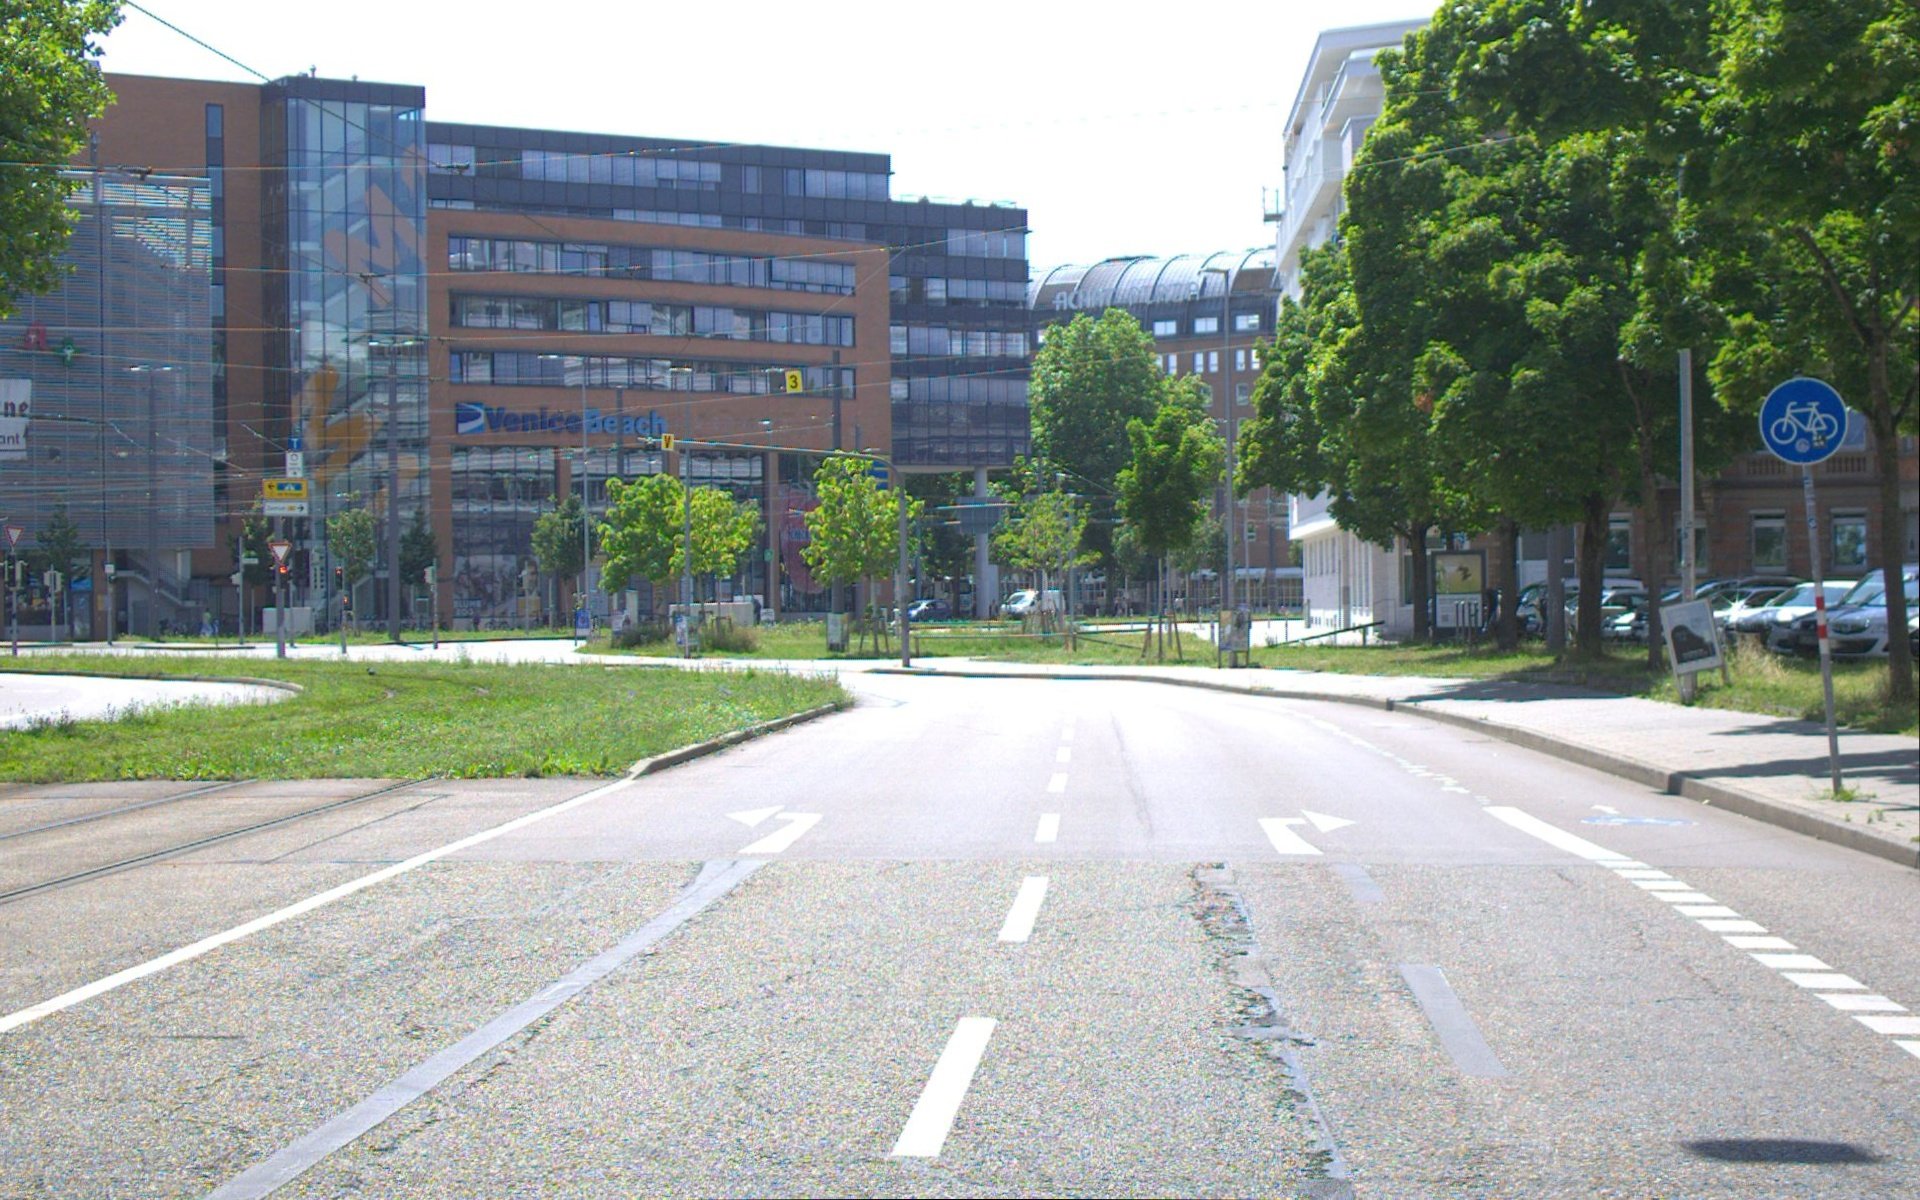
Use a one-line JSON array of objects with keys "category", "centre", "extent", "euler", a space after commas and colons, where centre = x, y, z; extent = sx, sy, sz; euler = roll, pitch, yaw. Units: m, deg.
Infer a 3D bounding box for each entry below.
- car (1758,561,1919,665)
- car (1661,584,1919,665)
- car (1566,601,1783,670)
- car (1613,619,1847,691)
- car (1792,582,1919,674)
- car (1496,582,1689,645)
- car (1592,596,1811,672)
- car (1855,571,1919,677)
[{"category": "car", "centre": [15.501, 0.237, 57.041], "extent": [3.986, 1.656, 1.973], "euler": [1, 0, -23]}, {"category": "car", "centre": [14.730, 0.433, 59.219], "extent": [4.770, 1.309, 2.150], "euler": [1, 0, -19]}, {"category": "car", "centre": [15.055, 0.750, 72.453], "extent": [4.333, 1.371, 1.583], "euler": [1, 0, -23]}, {"category": "car", "centre": [14.972, 1.067, 66.854], "extent": [3.986, 1.309, 1.973], "euler": [1, 0, -19]}, {"category": "car", "centre": [15.161, 0.452, 53.933], "extent": [3.986, 1.395, 1.712], "euler": [1, 0, -30]}, {"category": "car", "centre": [16.802, 0.362, 91.285], "extent": [4.857, 1.595, 1.836], "euler": [1, 0, -25]}, {"category": "car", "centre": [15.102, 0.694, 70.011], "extent": [4.078, 1.465, 1.798], "euler": [1, 0, -25]}, {"category": "car", "centre": [14.731, 0.366, 47.477], "extent": [4.677, 1.422, 1.972], "euler": [1, 0, -34]}]
